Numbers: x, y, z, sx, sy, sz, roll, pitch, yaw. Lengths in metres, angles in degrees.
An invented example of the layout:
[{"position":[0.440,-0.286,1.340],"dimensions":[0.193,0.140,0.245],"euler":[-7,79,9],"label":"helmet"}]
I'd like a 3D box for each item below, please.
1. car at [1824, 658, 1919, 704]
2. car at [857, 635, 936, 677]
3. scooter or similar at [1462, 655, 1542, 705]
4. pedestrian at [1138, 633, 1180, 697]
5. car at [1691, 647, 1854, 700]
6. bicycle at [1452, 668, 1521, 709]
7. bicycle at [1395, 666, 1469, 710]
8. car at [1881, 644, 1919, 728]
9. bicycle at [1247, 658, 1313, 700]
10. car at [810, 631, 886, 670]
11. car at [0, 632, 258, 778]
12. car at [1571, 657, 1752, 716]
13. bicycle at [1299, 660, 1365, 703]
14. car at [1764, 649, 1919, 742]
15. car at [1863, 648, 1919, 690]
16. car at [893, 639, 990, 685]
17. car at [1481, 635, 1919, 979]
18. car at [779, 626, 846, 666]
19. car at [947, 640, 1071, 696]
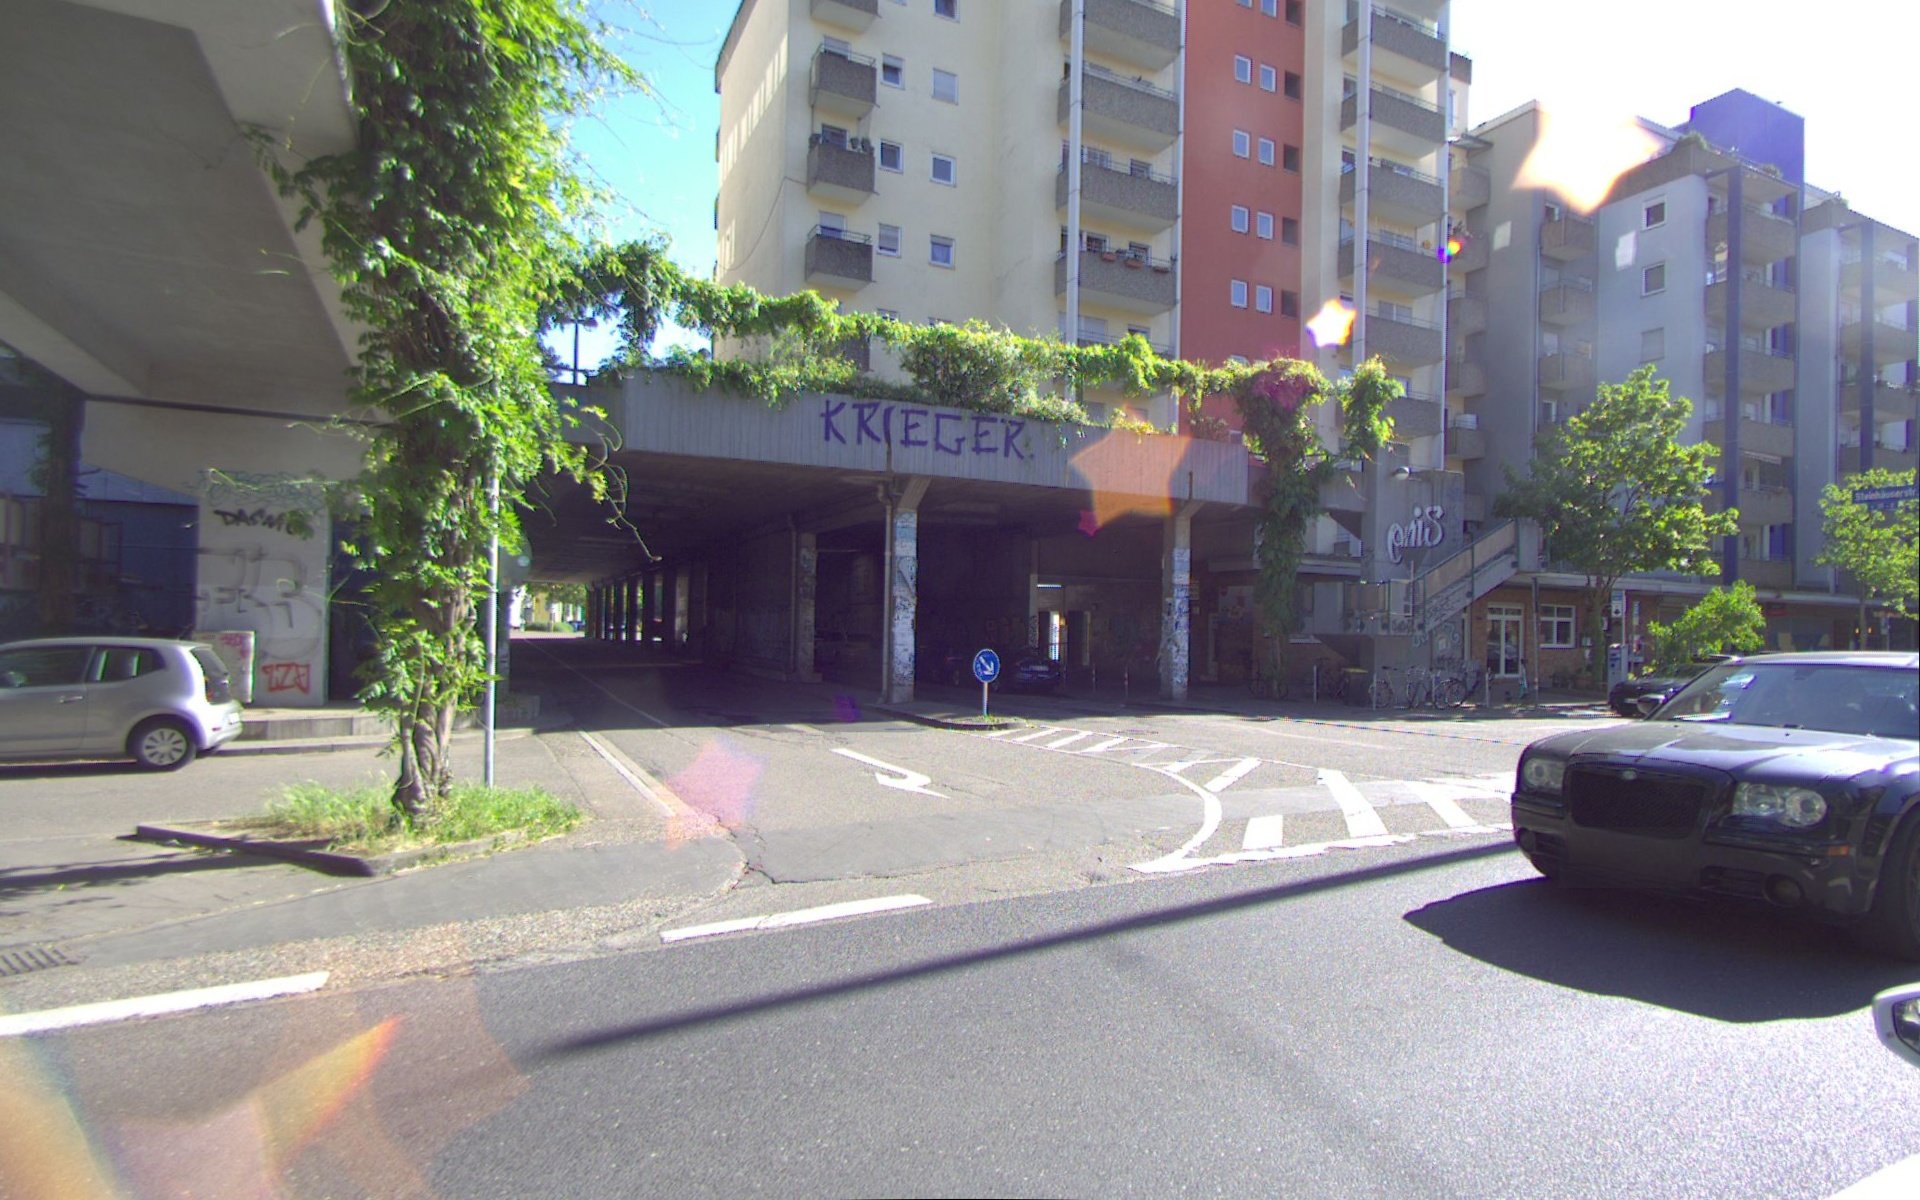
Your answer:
[{"position":[36.705,3.180,39.382],"dimensions":[1.667,1.651,3.969],"euler":[2,-2,-29],"label":"car"},{"position":[-2.479,2.110,38.594],"dimensions":[1.590,1.507,3.609],"euler":[2,-2,-30],"label":"car"},{"position":[15.273,2.240,28.337],"dimensions":[0.623,1.294,1.957],"euler":[1,-2,-30],"label":"scooter or similar"},{"position":[5.522,1.804,27.938],"dimensions":[0.786,1.722,0.752],"euler":[2,1,-27],"label":"pedestrian"},{"position":[27.712,2.460,34.389],"dimensions":[1.820,1.628,3.969],"euler":[2,-2,-29],"label":"car"},{"position":[13.741,2.296,26.219],"dimensions":[1.773,1.014,0.414],"euler":[1,1,-17],"label":"bicycle"},{"position":[11.961,2.236,25.462],"dimensions":[1.770,1.045,0.414],"euler":[2,1,-10],"label":"bicycle"},{"position":[21.084,1.757,20.500],"dimensions":[4.445,1.649,1.862],"euler":[2,-3,-26],"label":"car"},{"position":[8.636,2.115,27.185],"dimensions":[0.479,1.014,1.785],"euler":[1,-1,-34],"label":"bicycle"},{"position":[-4.780,2.108,42.458],"dimensions":[1.714,1.566,4.125],"euler":[2,-2,-29],"label":"car"},{"position":[-10.219,1.125,11.252],"dimensions":[3.602,1.505,1.600],"euler":[2,-2,-27],"label":"car"},{"position":[18.356,2.229,26.272],"dimensions":[4.467,1.416,1.886],"euler":[2,-3,-24],"label":"car"},{"position":[9.871,2.142,26.697],"dimensions":[1.594,1.014,0.413],"euler":[1,1,42],"label":"bicycle"},{"position":[16.539,1.683,18.340],"dimensions":[3.489,1.538,1.712],"euler":[2,-3,-29],"label":"car"},{"position":[39.074,2.799,40.279],"dimensions":[1.667,1.651,3.969],"euler":[2,-2,-29],"label":"car"},{"position":[-0.701,2.105,34.602],"dimensions":[1.744,1.429,4.036],"euler":[2,-2,-27],"label":"car"},{"position":[5.558,0.994,6.187],"dimensions":[4.532,1.477,1.860],"euler":[2,-3,-26],"label":"car"},{"position":[-7.035,2.142,47.553],"dimensions":[1.835,1.688,4.342],"euler":[3,-1,-26],"label":"car"},{"position":[1.378,2.007,30.196],"dimensions":[1.832,1.451,4.580],"euler":[4,-3,-24],"label":"car"}]
